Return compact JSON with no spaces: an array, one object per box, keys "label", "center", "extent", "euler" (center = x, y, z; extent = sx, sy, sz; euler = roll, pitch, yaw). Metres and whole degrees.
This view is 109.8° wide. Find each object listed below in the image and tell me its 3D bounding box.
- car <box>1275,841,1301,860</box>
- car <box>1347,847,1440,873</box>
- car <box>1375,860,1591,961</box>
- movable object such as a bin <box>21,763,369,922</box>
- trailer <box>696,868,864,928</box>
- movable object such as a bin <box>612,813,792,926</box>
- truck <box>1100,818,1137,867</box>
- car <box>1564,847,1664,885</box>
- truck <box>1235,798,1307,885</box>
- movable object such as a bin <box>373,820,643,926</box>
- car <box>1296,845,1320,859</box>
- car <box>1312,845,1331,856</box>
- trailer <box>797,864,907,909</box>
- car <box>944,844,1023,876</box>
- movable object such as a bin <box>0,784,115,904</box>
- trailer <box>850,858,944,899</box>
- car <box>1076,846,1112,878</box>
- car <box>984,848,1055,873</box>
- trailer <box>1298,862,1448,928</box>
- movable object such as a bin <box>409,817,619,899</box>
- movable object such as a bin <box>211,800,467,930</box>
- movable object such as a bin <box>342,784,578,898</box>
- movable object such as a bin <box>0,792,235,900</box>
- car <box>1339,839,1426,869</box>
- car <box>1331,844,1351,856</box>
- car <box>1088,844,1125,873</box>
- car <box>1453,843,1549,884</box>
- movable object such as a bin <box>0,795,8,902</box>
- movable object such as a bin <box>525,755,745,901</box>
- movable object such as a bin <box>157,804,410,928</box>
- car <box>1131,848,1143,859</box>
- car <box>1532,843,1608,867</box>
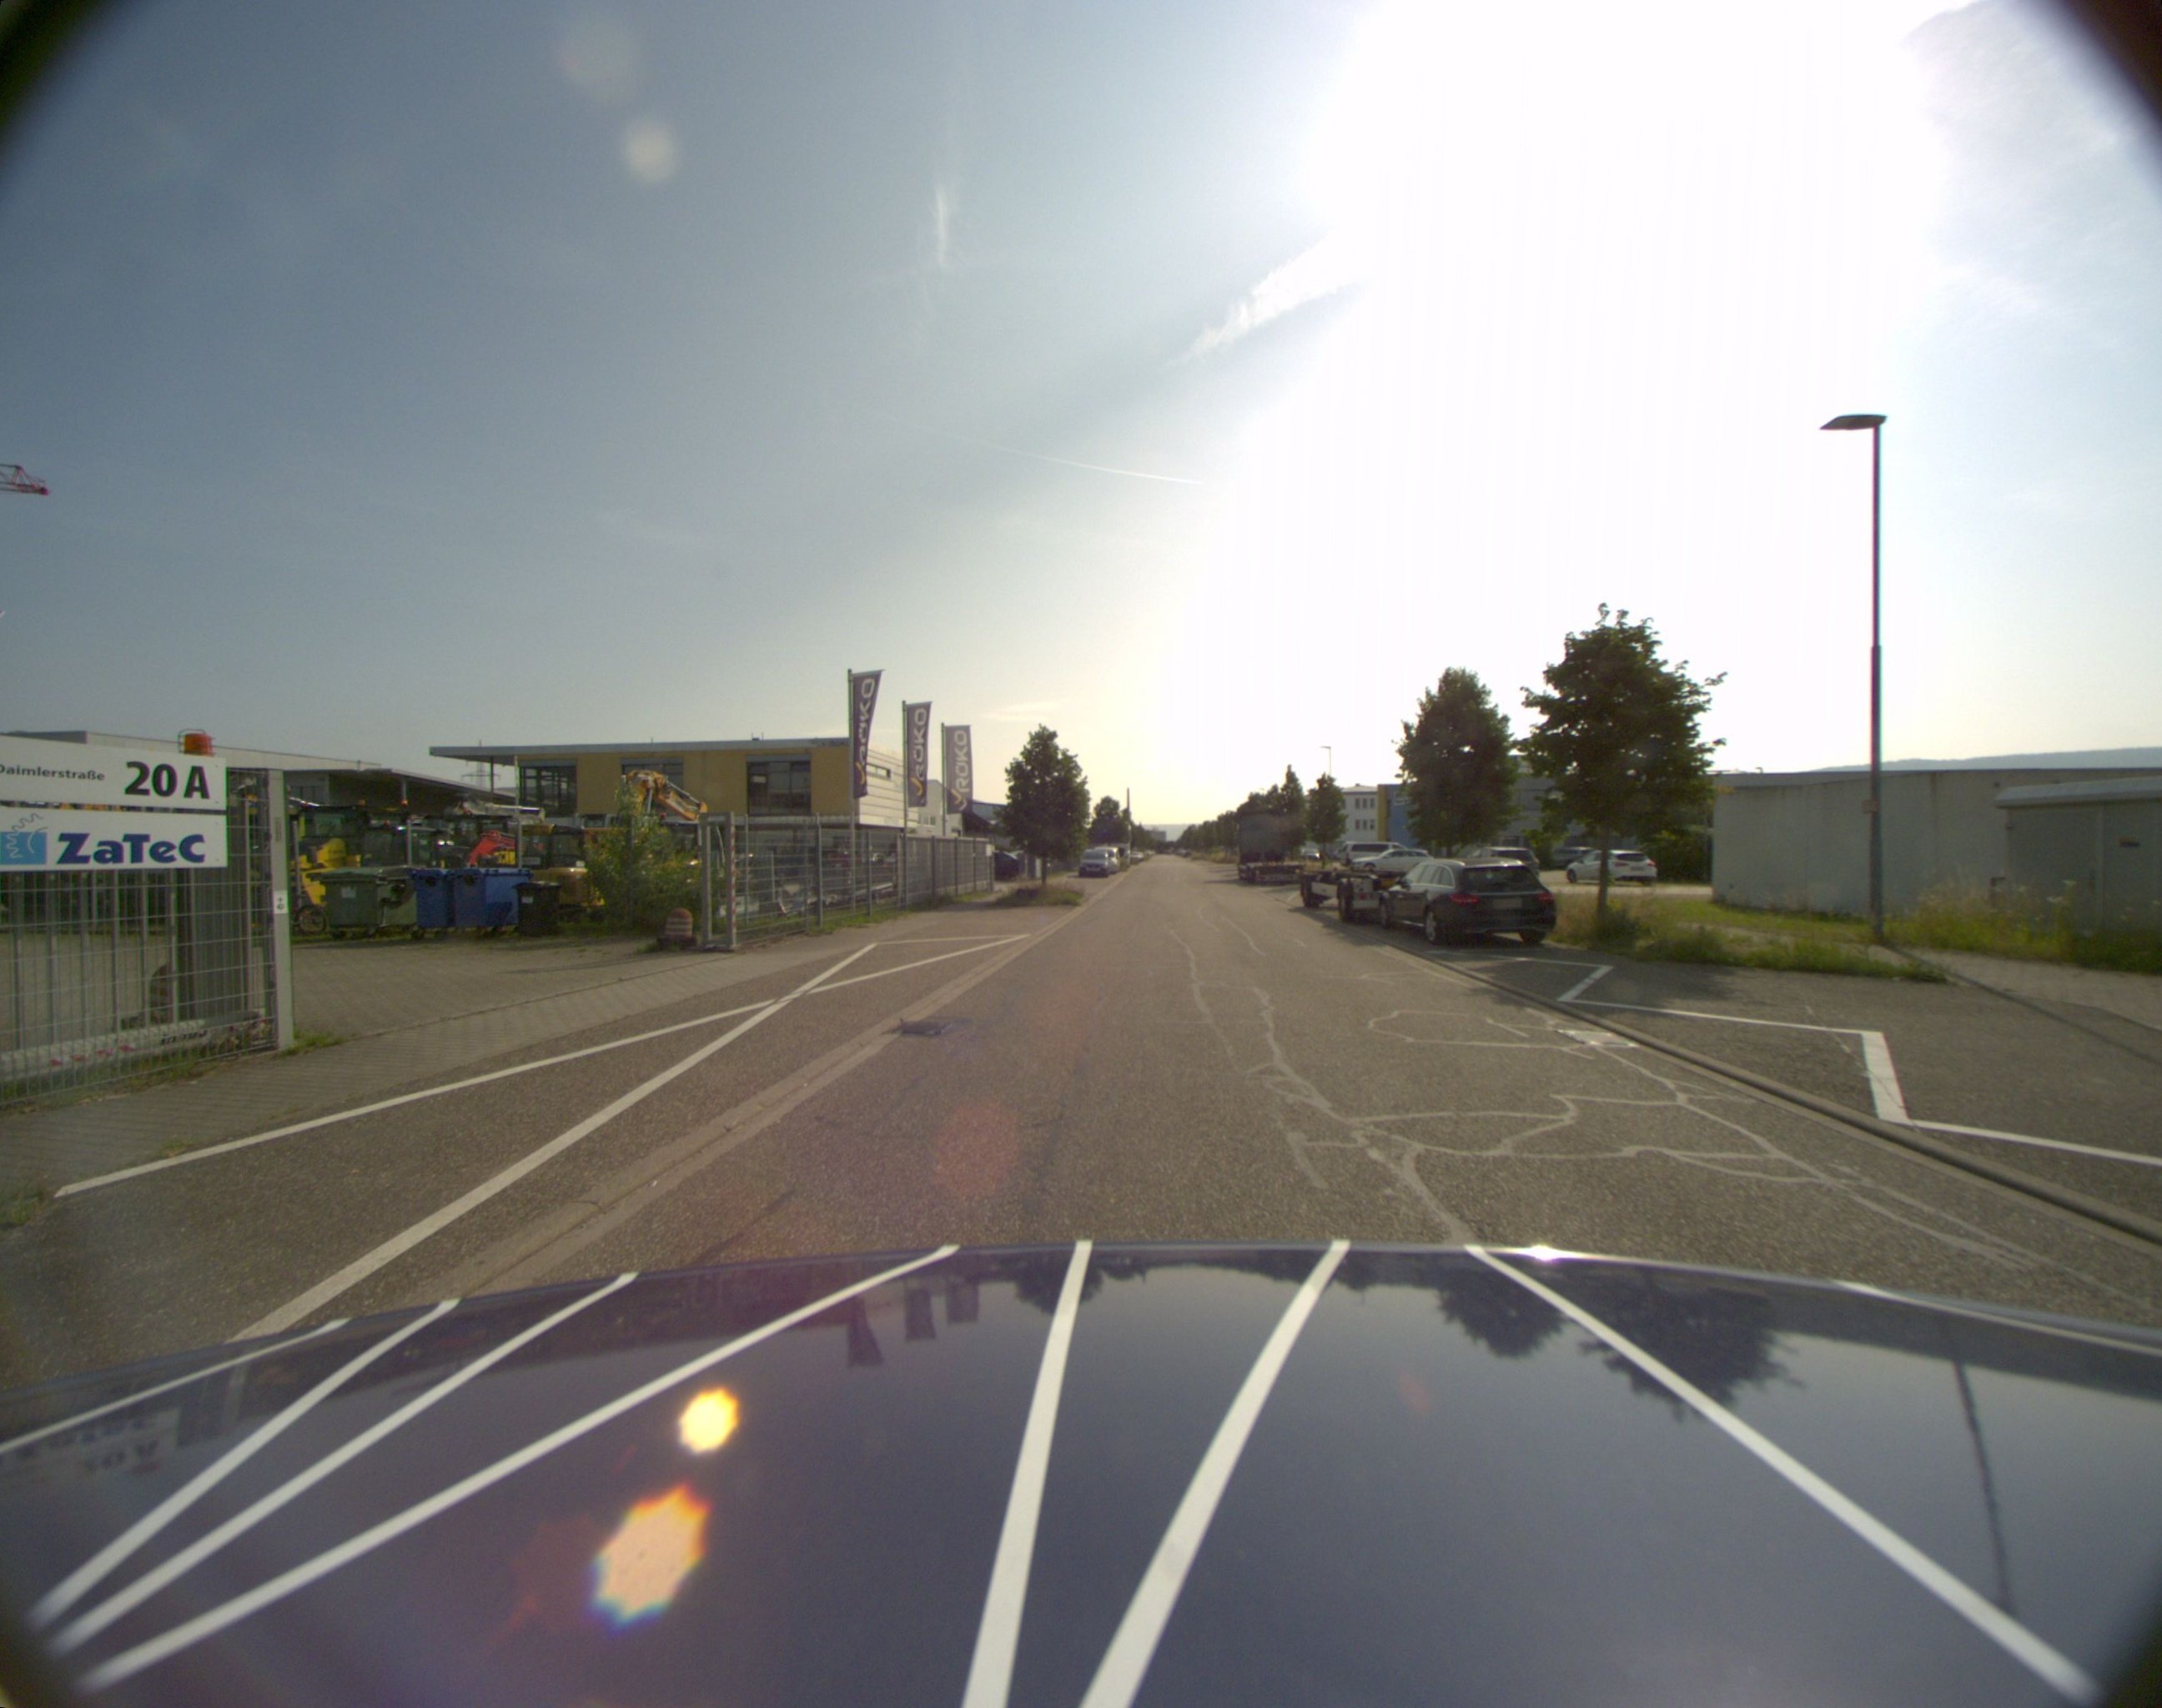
[{"label":"car","center":[22.333,-0.395,82.089],"extent":[1.885,2.002,4.993],"euler":[0,0,6]},{"label":"car","center":[18.571,0.341,45.338],"extent":[4.737,1.423,2.000],"euler":[-1,1,4]},{"label":"car","center":[7.021,0.896,13.901],"extent":[1.997,1.458,4.434],"euler":[-2,0,7]},{"label":"movable object such as a bin","center":[-24.247,-0.305,21.326],"extent":[2.689,3.851,5.720],"euler":[0,1,7]},{"label":"trailer","center":[-7.556,1.048,19.733],"extent":[2.130,1.236,4.797],"euler":[0,1,5]},{"label":"movable object such as a bin","center":[-10.236,0.352,21.100],"extent":[1.890,2.736,5.162],"euler":[0,1,7]},{"label":"truck","center":[3.487,-1.017,67.887],"extent":[2.751,3.992,9.689],"euler":[2,1,6]},{"label":"car","center":[23.425,0.478,33.589],"extent":[1.709,1.507,4.214],"euler":[0,1,5]},{"label":"truck","center":[9.679,-0.686,39.677],"extent":[2.460,3.859,9.806],"euler":[-2,1,8]},{"label":"movable object such as a bin","center":[-15.142,0.422,20.678],"extent":[2.928,2.477,5.341],"euler":[0,1,7]},{"label":"car","center":[27.258,-0.277,91.451],"extent":[1.946,1.597,4.511],"euler":[-1,1,6]},{"label":"car","center":[32.735,-0.479,103.632],"extent":[1.758,1.459,3.920],"euler":[-1,1,7]},{"label":"trailer","center":[-7.265,0.994,24.593],"extent":[1.948,1.236,4.295],"euler":[0,1,5]},{"label":"car","center":[-5.469,0.313,42.978],"extent":[4.235,1.727,1.899],"euler":[-1,1,-1]},{"label":"movable object such as a bin","center":[-36.457,-0.313,23.970],"extent":[2.471,3.907,7.202],"euler":[0,1,3]},{"label":"trailer","center":[-6.965,0.893,29.368],"extent":[1.997,1.303,4.565],"euler":[-1,2,7]},{"label":"car","center":[0.859,0.440,45.942],"extent":[1.829,1.710,4.249],"euler":[-1,2,5]},{"label":"car","center":[-3.827,0.423,48.002],"extent":[4.234,1.487,1.900],"euler":[-1,0,3]},{"label":"trailer","center":[7.284,0.932,19.900],"extent":[2.134,1.225,7.161],"euler":[-2,0,9]},{"label":"movable object such as a bin","center":[-20.630,0.119,28.213],"extent":[2.706,2.700,6.351],"euler":[0,0,5]},{"label":"movable object such as a bin","center":[-19.195,0.233,20.025],"extent":[1.997,3.014,4.494],"euler":[0,1,7]},{"label":"movable object such as a bin","center":[-23.750,-0.466,29.745],"extent":[2.924,3.906,7.209],"euler":[0,0,5]},{"label":"movable object such as a bin","center":[-38.925,-0.350,30.625],"extent":[2.724,3.907,6.023],"euler":[0,1,2]},{"label":"car","center":[18.966,-0.018,48.034],"extent":[4.713,1.825,2.104],"euler":[-1,1,6]},{"label":"car","center":[35.297,-0.550,103.197],"extent":[1.909,1.609,3.920],"euler":[-1,1,7]},{"label":"car","center":[1.792,0.244,51.700],"extent":[1.997,1.779,4.601],"euler":[-1,2,7]},{"label":"car","center":[18.582,0.374,33.904],"extent":[1.998,1.677,4.700],"euler":[0,1,5]},{"label":"movable object such as a bin","center":[-39.499,-0.150,23.923],"extent":[2.457,3.759,6.143],"euler":[0,1,3]},{"label":"movable object such as a bin","center":[-16.417,-0.864,28.870],"extent":[3.323,4.778,7.675],"euler":[0,0,5]},{"label":"movable object such as a bin","center":[-21.456,0.267,20.776],"extent":[1.997,3.014,4.375],"euler":[0,1,7]},{"label":"car","center":[8.106,-0.141,110.151],"extent":[1.667,1.495,3.542],"euler":[1,1,6]},{"label":"car","center":[32.023,0.017,49.897],"extent":[1.579,1.473,4.519],"euler":[-1,2,-9]}]
